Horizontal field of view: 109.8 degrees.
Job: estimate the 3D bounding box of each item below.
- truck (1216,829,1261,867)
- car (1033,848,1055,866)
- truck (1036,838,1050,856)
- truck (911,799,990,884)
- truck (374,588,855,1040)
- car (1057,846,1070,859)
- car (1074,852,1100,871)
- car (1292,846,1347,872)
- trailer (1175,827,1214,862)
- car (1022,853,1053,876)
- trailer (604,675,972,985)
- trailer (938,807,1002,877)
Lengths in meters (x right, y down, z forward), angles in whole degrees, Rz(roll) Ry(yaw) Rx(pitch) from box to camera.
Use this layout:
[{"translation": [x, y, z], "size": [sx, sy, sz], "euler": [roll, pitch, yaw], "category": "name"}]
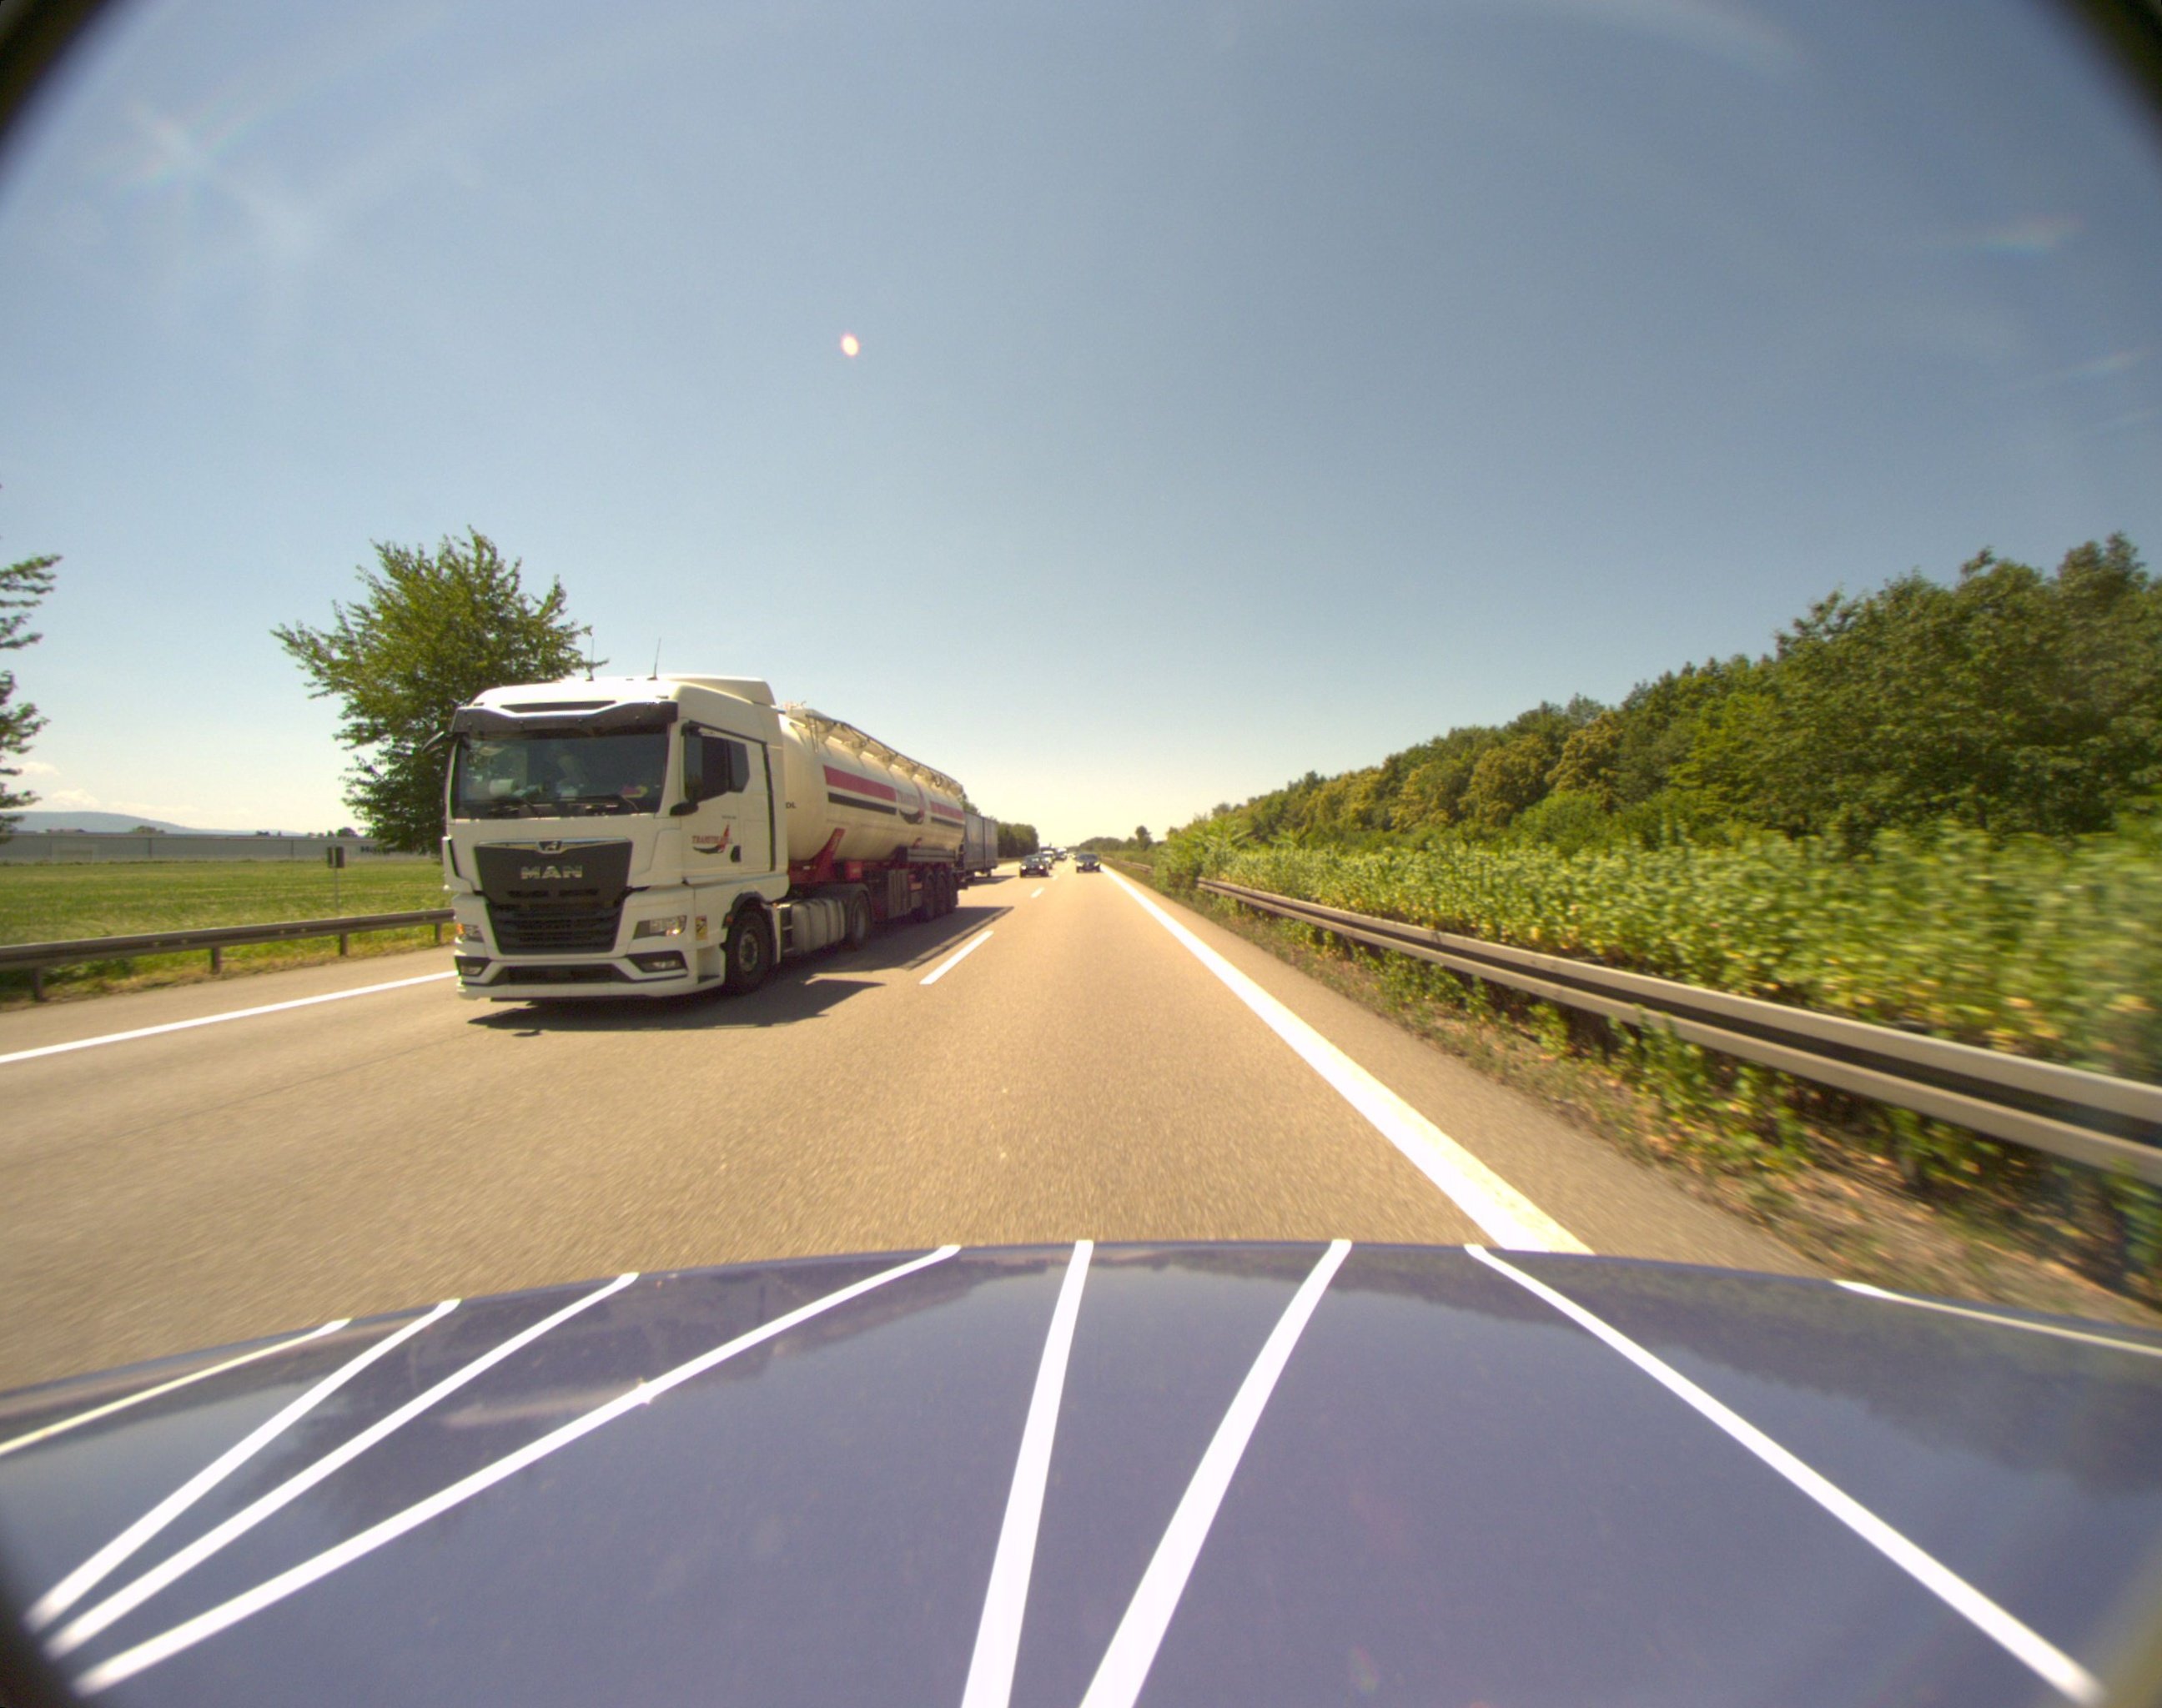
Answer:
[{"translation": [17.821, -0.689, 86.648], "size": [3.021, 4.090, 9.999], "euler": [-1, 1, 0], "category": "truck"}, {"translation": [-3.501, 0.249, 72.339], "size": [1.887, 1.634, 3.999], "euler": [-1, 0, -1], "category": "car"}, {"translation": [-9.174, -1.719, 184.411], "size": [2.797, 4.180, 10.804], "euler": [-1, 0, -1], "category": "truck"}, {"translation": [-7.107, -0.646, 43.004], "size": [2.797, 4.180, 10.804], "euler": [-1, 0, -1], "category": "truck"}, {"translation": [-5.112, -0.372, 9.613], "size": [2.797, 4.180, 5.000], "euler": [-1, 1, 2], "category": "truck"}, {"translation": [-2.975, -0.287, 128.104], "size": [1.998, 2.002, 3.999], "euler": [-1, 1, 0], "category": "car"}, {"translation": [0.395, 0.546, 58.496], "size": [1.887, 1.341, 4.466], "euler": [-1, 0, -1], "category": "car"}, {"translation": [13.250, 0.244, 42.413], "size": [1.799, 1.330, 3.999], "euler": [-1, 1, 0], "category": "car"}, {"translation": [14.072, -1.127, 95.079], "size": [2.877, 3.986, 13.516], "euler": [-1, 0, 0], "category": "trailer"}, {"translation": [-2.855, 0.640, 50.469], "size": [1.841, 1.409, 4.496], "euler": [-1, 0, -1], "category": "car"}, {"translation": [-4.880, -0.363, 16.531], "size": [2.797, 4.180, 12.353], "euler": [-1, 0, 2], "category": "trailer"}, {"translation": [-7.277, -0.760, 51.364], "size": [2.797, 4.180, 10.804], "euler": [-1, 0, -1], "category": "trailer"}]
